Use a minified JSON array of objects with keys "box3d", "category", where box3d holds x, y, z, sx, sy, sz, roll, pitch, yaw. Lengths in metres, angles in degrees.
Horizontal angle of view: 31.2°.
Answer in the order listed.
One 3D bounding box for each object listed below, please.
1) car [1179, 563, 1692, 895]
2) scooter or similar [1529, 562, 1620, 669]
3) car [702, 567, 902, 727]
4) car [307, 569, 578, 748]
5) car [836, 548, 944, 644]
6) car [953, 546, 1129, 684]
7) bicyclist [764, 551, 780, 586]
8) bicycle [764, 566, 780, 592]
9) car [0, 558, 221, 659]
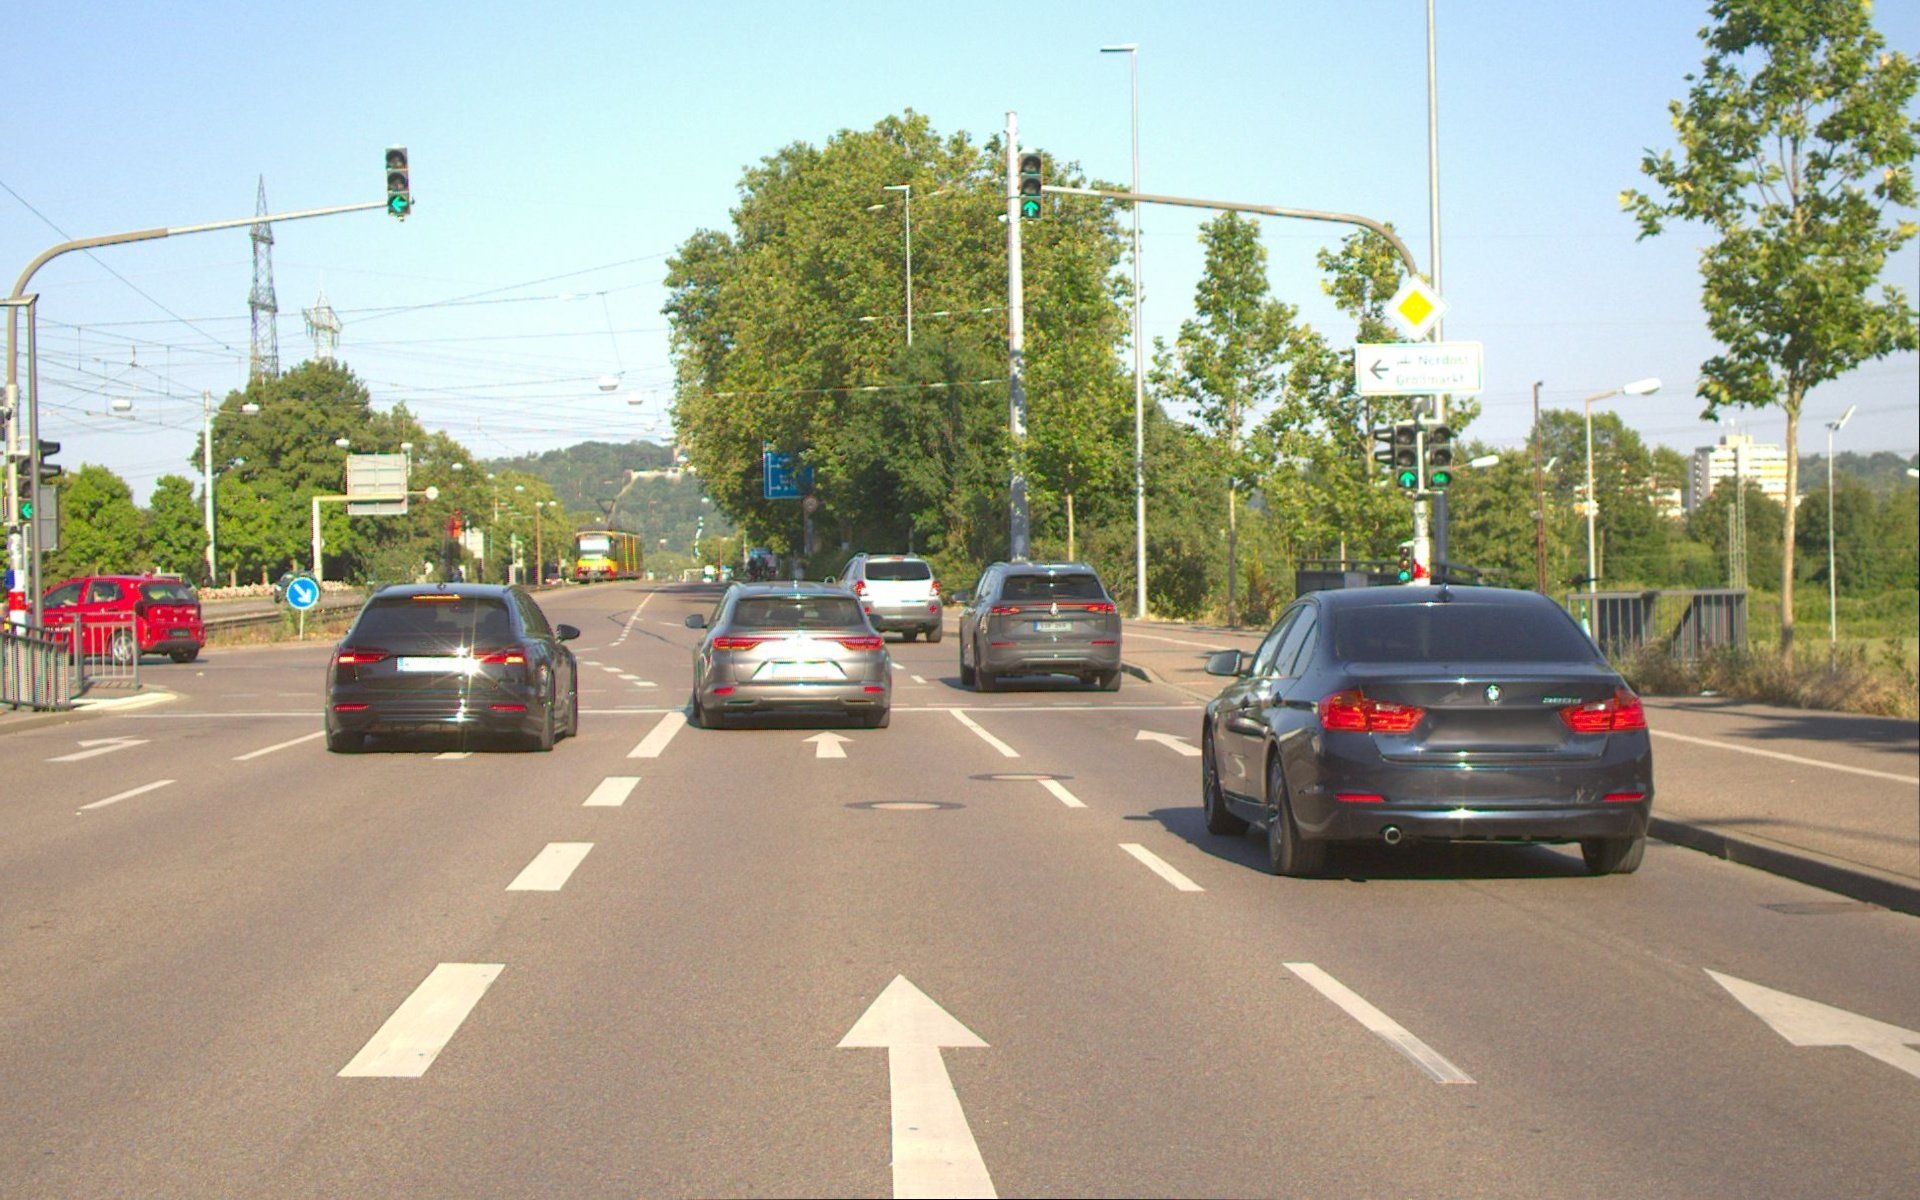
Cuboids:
[{"box3d":[2.326,0.564,18.033,1.866,1.462,4.587,-1,1,-2],"category":"car"},{"box3d":[7.265,0.179,40.663,0.523,1.226,1.267,-1,0,-16],"category":"scooter or similar"},{"box3d":[-1.630,0.422,34.671,1.865,1.462,4.667,1,1,-4],"category":"car"},{"box3d":[-4.435,0.456,30.016,1.915,1.453,4.092,0,0,-2],"category":"car"},{"box3d":[-1.408,-0.110,67.530,1.883,1.789,4.001,1,1,-4],"category":"car"},{"box3d":[0.986,0.151,44.131,1.844,1.655,4.440,0,1,-4],"category":"car"},{"box3d":[-8.117,-1.355,148.287,0.685,1.503,0.891,-1,1,-3],"category":"bicyclist"},{"box3d":[-8.125,-0.907,148.379,0.622,1.116,1.813,-2,1,-4],"category":"bicycle"},{"box3d":[-14.296,0.147,57.081,3.579,1.455,1.769,-4,0,27],"category":"car"}]
